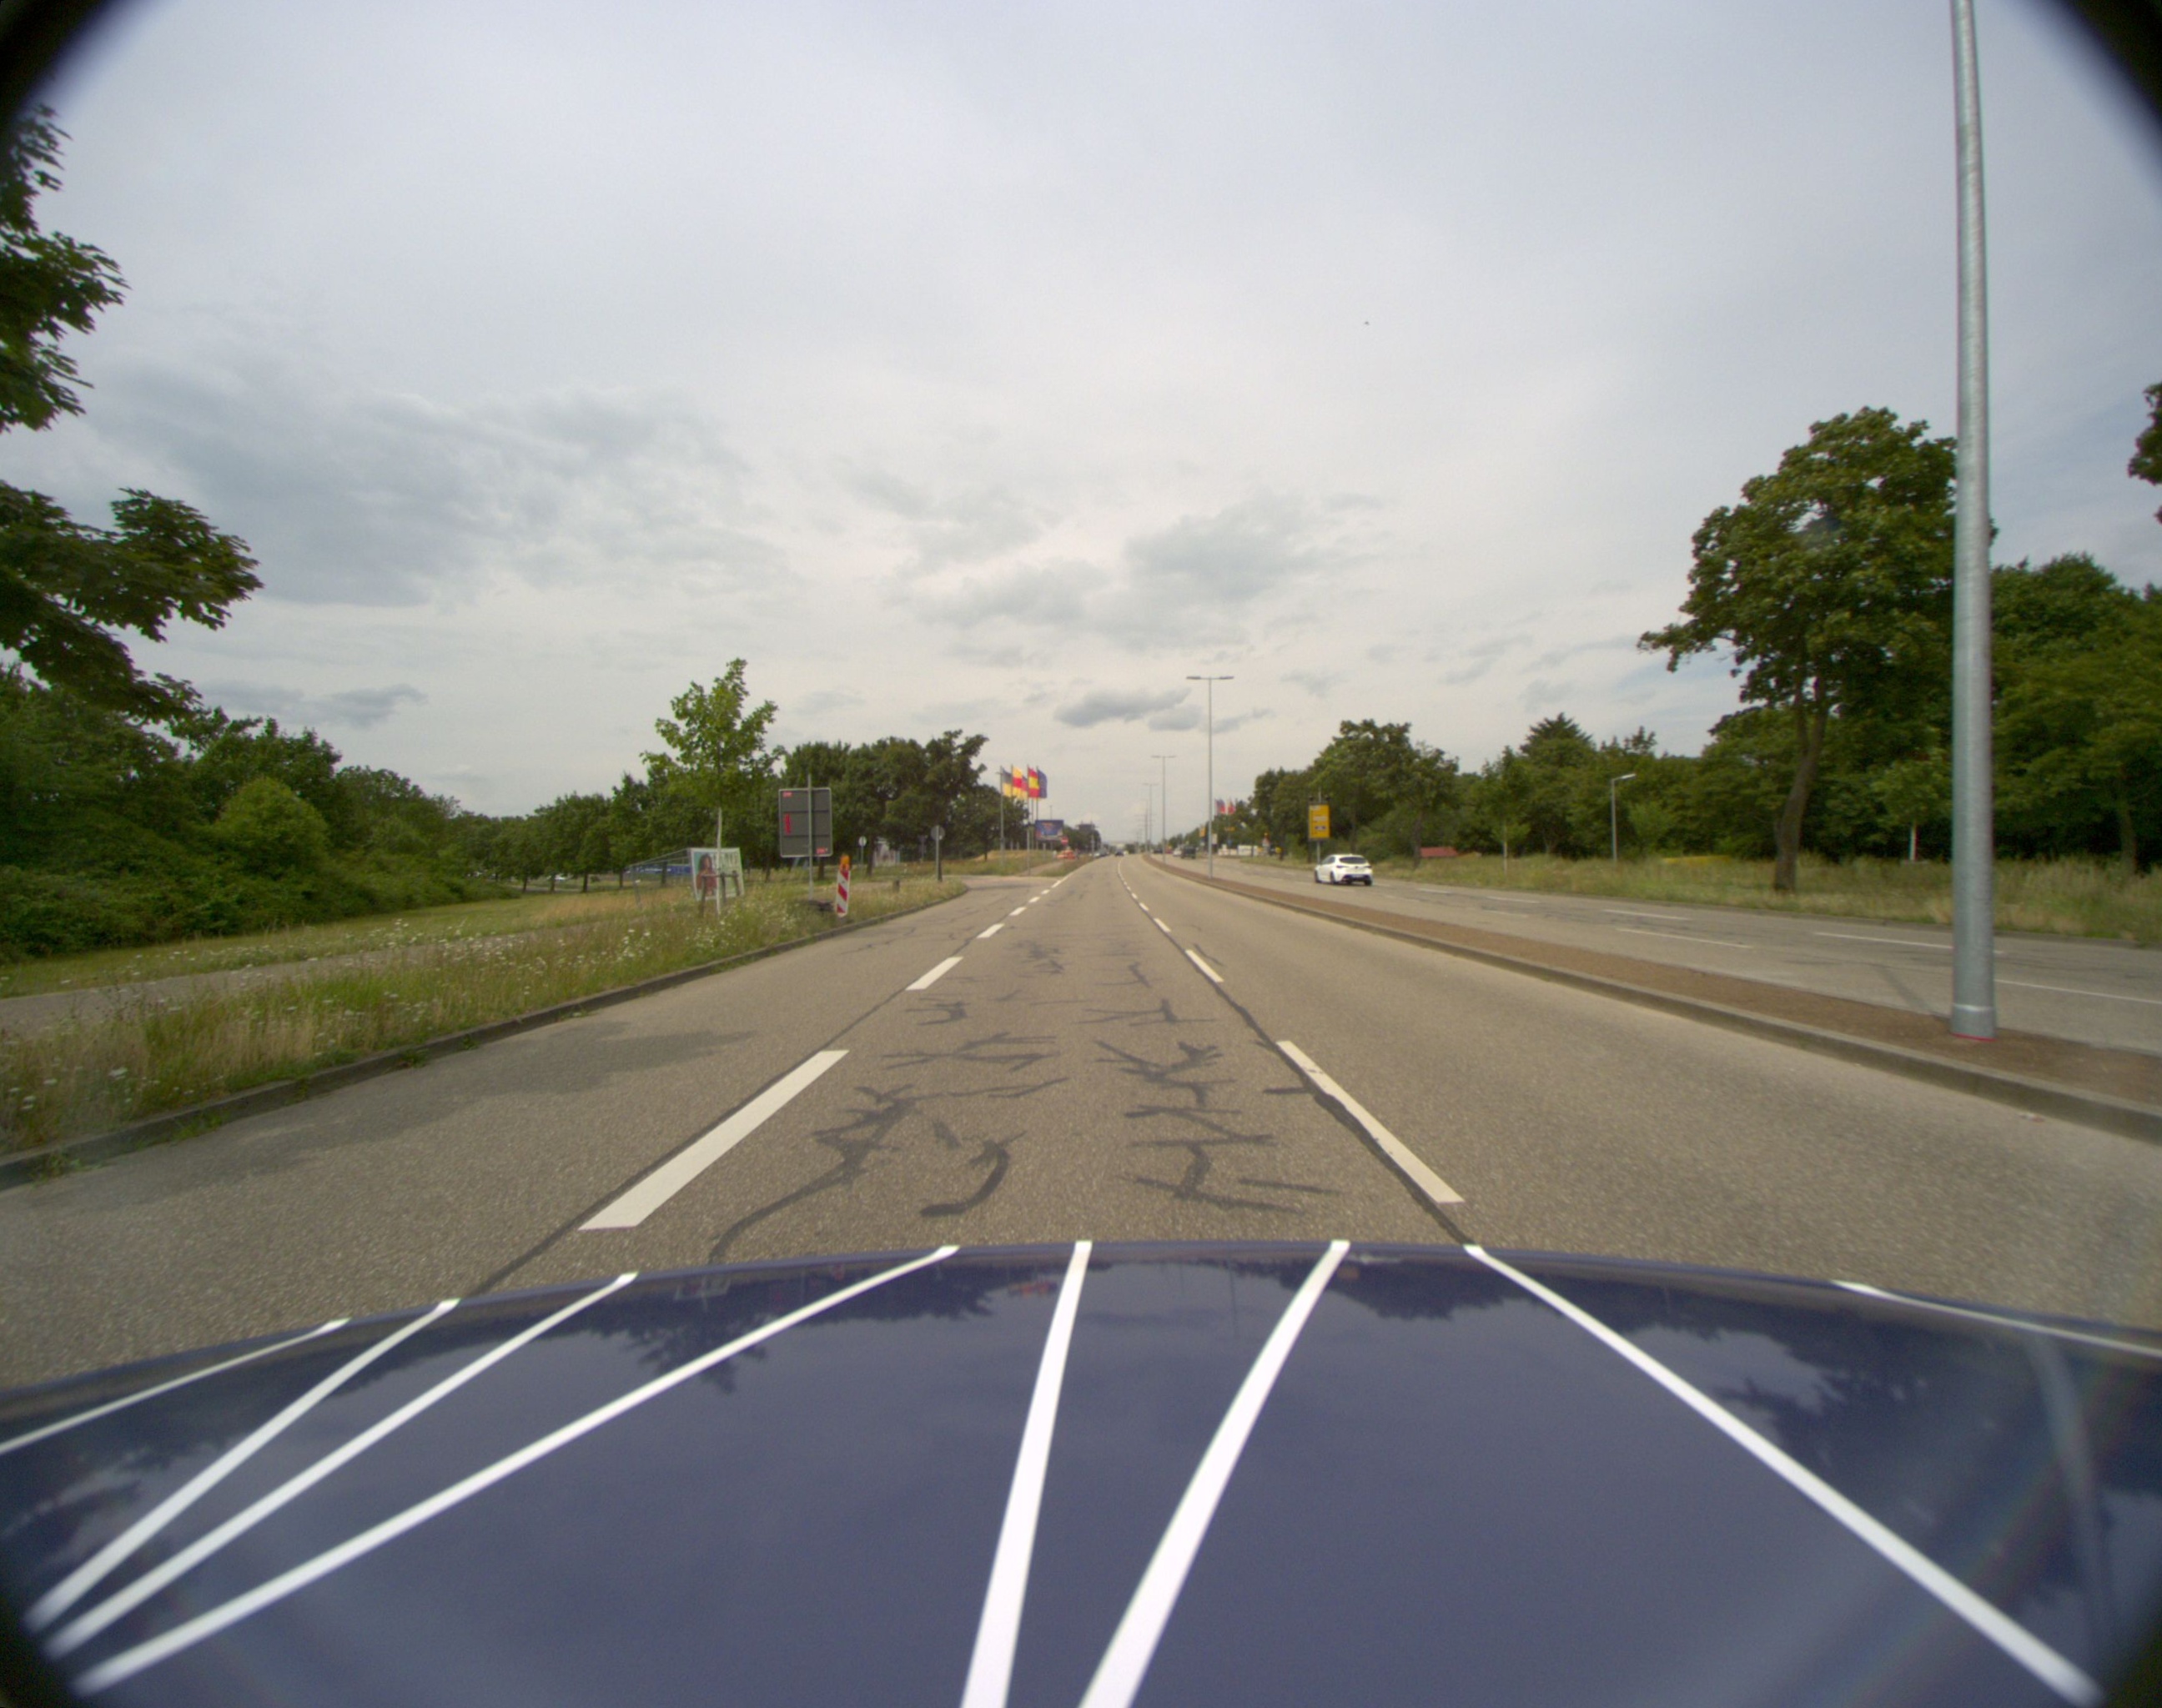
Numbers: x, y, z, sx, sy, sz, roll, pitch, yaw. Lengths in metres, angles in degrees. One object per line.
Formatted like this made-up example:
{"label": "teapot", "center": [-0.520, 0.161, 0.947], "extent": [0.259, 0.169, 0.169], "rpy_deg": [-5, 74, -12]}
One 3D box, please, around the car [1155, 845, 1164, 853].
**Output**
{"label": "car", "center": [19.759, -1.269, 191.697], "extent": [1.998, 1.800, 4.798], "rpy_deg": [0, -1, 2]}

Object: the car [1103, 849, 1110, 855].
{"label": "car", "center": [6.119, -0.529, 181.256], "extent": [1.558, 1.229, 3.470], "rpy_deg": [-2, -1, 3]}

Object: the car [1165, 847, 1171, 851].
{"label": "car", "center": [28.812, -1.724, 251.434], "extent": [1.758, 1.314, 4.348], "rpy_deg": [-1, -1, 5]}

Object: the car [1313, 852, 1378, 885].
{"label": "car", "center": [12.401, 0.666, 35.891], "extent": [1.721, 1.411, 4.160], "rpy_deg": [1, 0, 2]}

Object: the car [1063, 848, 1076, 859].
{"label": "car", "center": [-2.057, -0.027, 131.835], "extent": [1.892, 1.824, 4.432], "rpy_deg": [-2, -1, 3]}

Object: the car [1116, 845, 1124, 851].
{"label": "car", "center": [8.068, -1.202, 158.675], "extent": [1.558, 1.229, 3.470], "rpy_deg": [-2, -1, 3]}

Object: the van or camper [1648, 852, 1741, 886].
{"label": "van or camper", "center": [40.492, 0.969, 50.249], "extent": [4.361, 2.002, 2.001], "rpy_deg": [-2, 1, 11]}

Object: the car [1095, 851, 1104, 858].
{"label": "car", "center": [3.593, 0.091, 145.059], "extent": [1.695, 1.403, 3.684], "rpy_deg": [-2, -1, 1]}

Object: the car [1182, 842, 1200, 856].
{"label": "car", "center": [17.260, -0.798, 119.671], "extent": [2.100, 2.188, 6.004], "rpy_deg": [0, 0, 1]}

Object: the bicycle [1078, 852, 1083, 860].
{"label": "bicycle", "center": [-0.035, 0.274, 114.405], "extent": [0.695, 1.185, 2.461], "rpy_deg": [0, 0, 2]}

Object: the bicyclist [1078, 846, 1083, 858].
{"label": "bicyclist", "center": [-0.037, -0.299, 114.339], "extent": [0.705, 1.745, 0.991], "rpy_deg": [-1, 0, 2]}

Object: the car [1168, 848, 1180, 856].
{"label": "car", "center": [17.831, -0.342, 146.360], "extent": [1.998, 1.422, 4.689], "rpy_deg": [0, 0, 3]}

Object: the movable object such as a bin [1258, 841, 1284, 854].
{"label": "movable object such as a bin", "center": [37.067, -1.313, 148.178], "extent": [4.592, 2.383, 1.999], "rpy_deg": [-1, 0, -7]}

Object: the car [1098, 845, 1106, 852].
{"label": "car", "center": [4.365, -1.108, 158.471], "extent": [1.558, 1.229, 3.470], "rpy_deg": [-2, -1, 3]}
